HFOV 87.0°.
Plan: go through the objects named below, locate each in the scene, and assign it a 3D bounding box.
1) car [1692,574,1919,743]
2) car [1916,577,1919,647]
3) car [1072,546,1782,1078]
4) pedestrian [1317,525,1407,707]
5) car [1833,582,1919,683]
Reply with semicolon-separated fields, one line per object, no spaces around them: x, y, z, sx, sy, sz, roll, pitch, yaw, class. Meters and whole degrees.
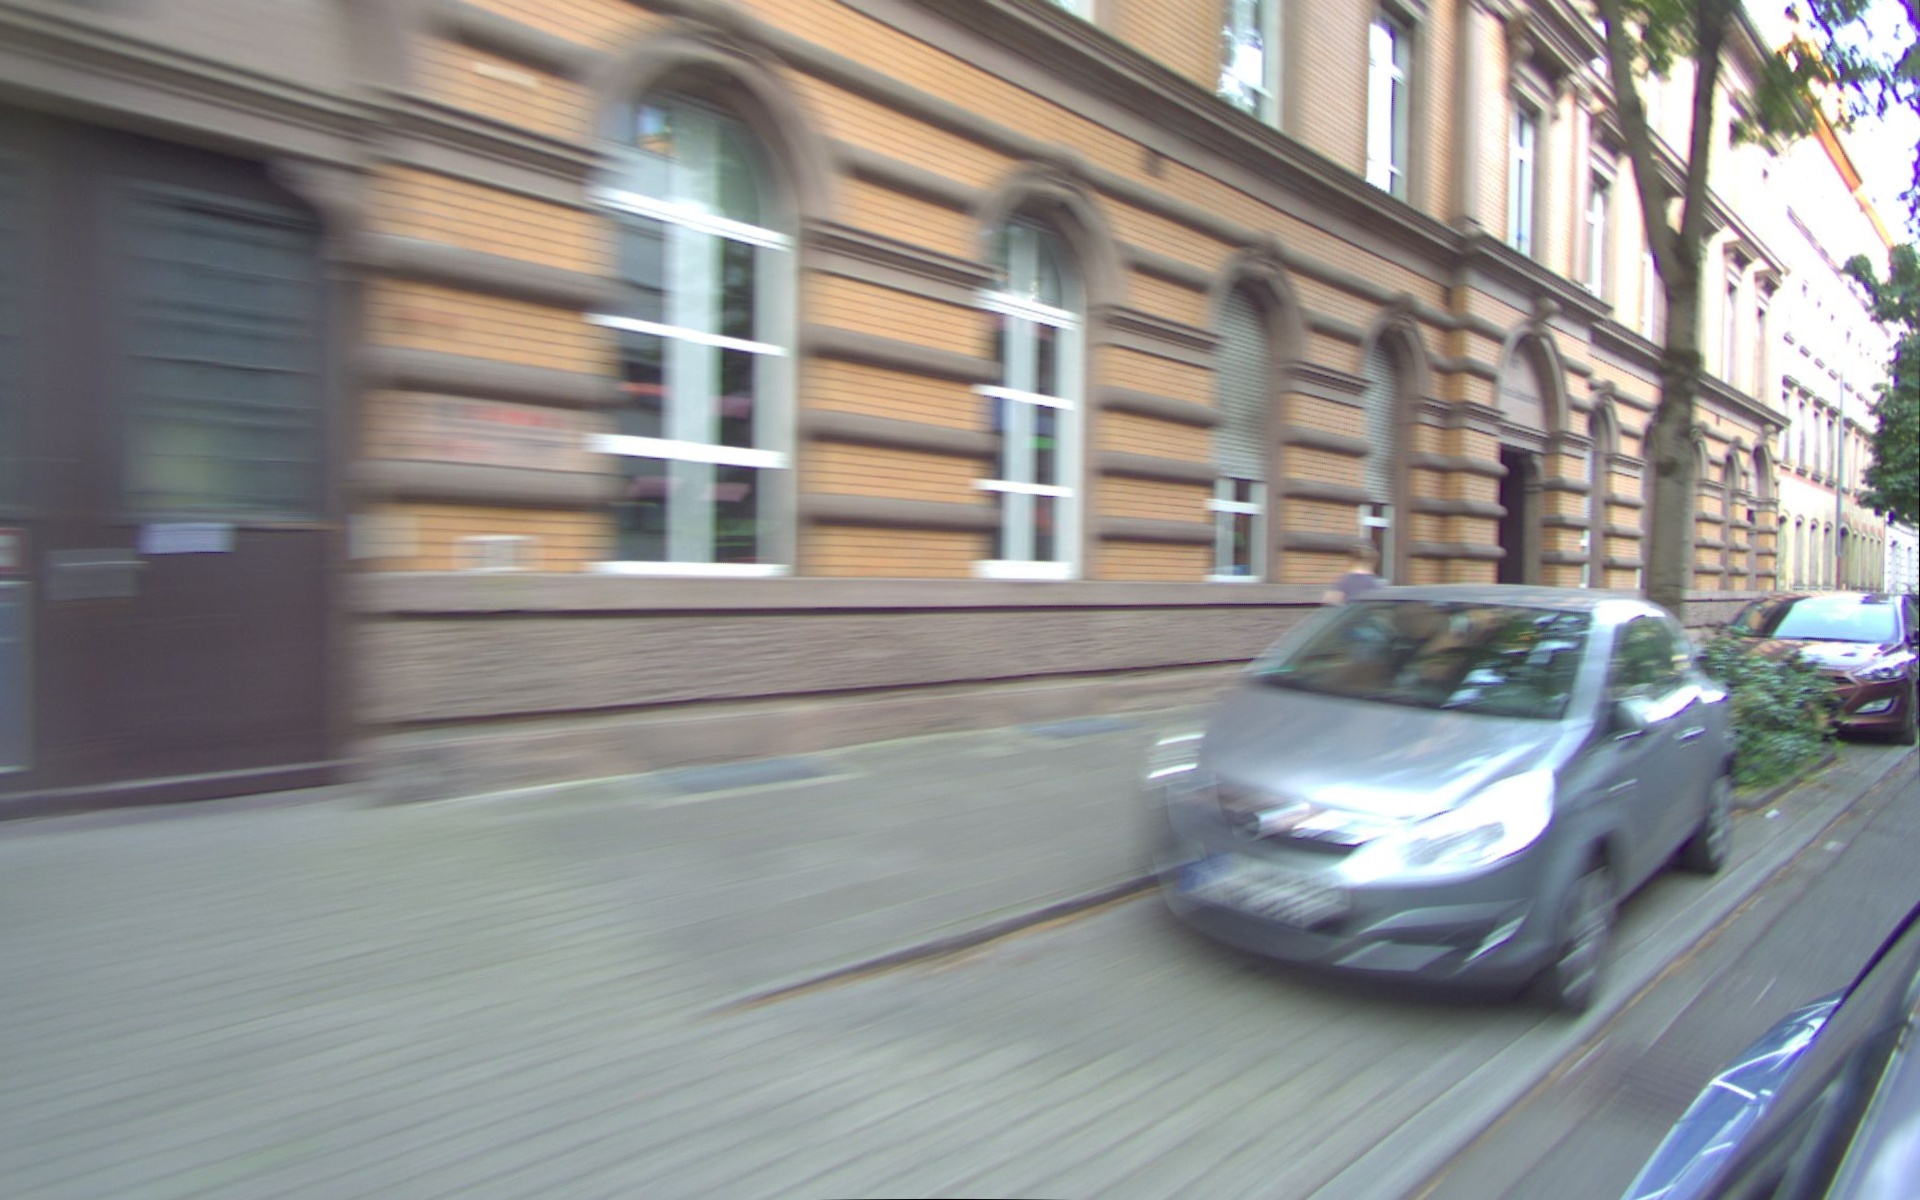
9.602;0.475;11.034;4.142;1.467;1.725;-2;3;-41;car
22.542;0.253;22.358;4.120;1.496;1.714;-1;1;-42;car
2.480;0.544;4.843;3.933;1.501;1.700;-1;3;-43;car
3.855;0.143;9.720;0.522;1.669;0.628;0;0;-40;pedestrian
15.254;0.438;15.923;4.566;1.418;1.696;-1;2;-42;car
